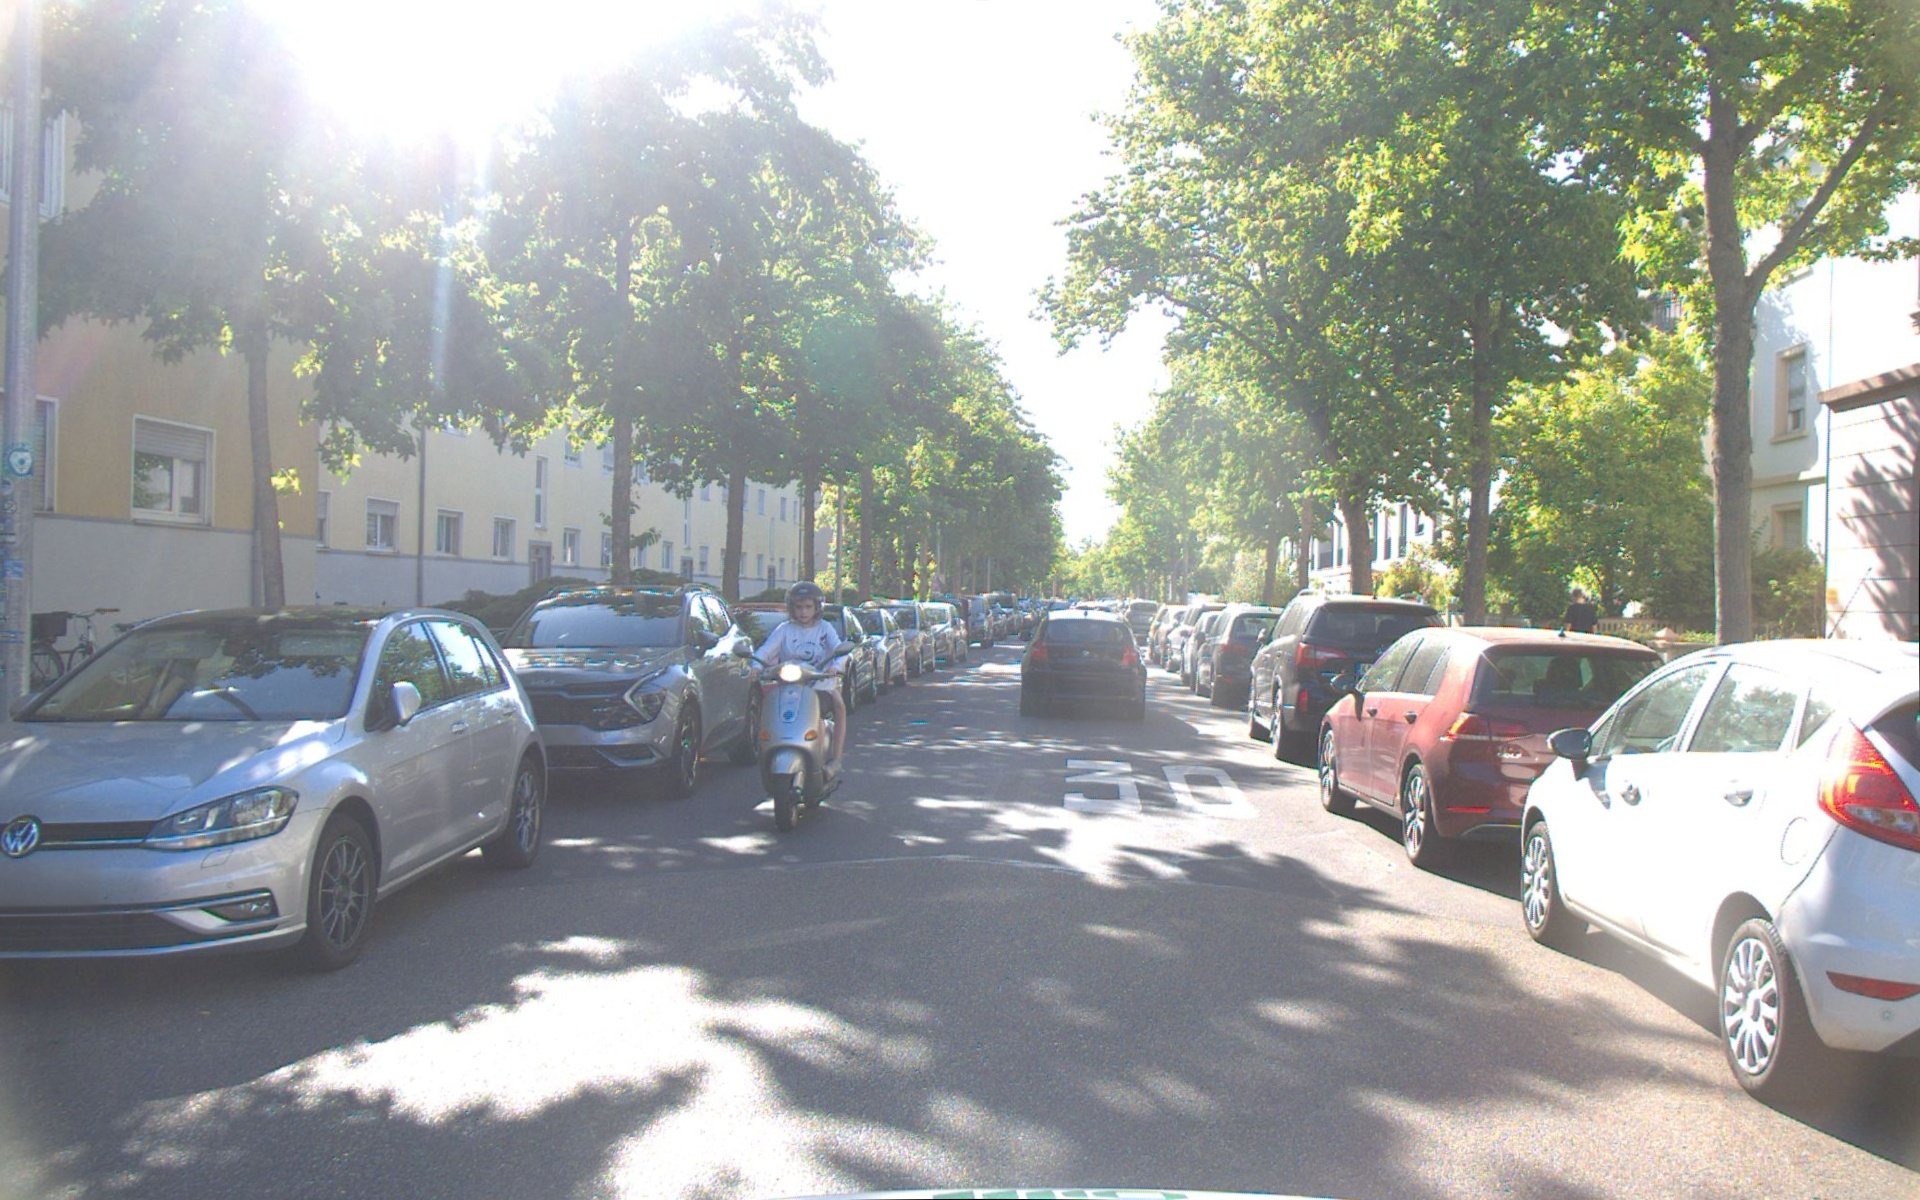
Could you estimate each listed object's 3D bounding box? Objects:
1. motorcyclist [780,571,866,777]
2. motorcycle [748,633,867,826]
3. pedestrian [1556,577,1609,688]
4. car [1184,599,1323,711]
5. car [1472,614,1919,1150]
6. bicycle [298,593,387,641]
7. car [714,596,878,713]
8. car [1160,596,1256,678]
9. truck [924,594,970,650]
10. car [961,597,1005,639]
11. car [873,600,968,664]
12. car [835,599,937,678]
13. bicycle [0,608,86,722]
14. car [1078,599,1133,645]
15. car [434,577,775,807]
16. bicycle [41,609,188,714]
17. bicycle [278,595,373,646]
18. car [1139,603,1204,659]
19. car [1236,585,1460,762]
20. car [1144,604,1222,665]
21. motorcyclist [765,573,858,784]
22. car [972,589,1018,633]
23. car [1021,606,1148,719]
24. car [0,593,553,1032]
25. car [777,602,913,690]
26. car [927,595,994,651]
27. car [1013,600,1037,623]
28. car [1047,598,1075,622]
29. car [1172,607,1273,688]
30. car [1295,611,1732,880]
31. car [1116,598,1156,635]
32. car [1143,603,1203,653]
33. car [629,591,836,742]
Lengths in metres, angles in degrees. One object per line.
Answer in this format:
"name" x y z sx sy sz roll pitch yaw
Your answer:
"motorcyclist" -0.991 0.526 12.006 0.532 1.451 0.404 1 0 4
"motorcycle" -1.027 0.846 11.464 0.541 1.195 1.633 1 0 4
"pedestrian" 10.255 0.531 27.249 0.609 1.806 0.800 0 0 4
"car" 4.833 0.842 27.746 1.649 1.615 4.537 3 0 3
"car" 3.383 0.809 6.585 1.618 1.426 4.137 1 0 3
"bicycle" -12.418 0.336 33.282 1.600 0.947 0.481 1 0 -4
"car" -2.234 0.706 23.531 1.630 1.484 3.935 1 0 4
"car" 5.492 0.778 36.968 1.614 1.684 3.847 1 0 1
"truck" -0.376 0.646 49.379 1.061 1.605 2.433 1 0 6
"car" 0.935 0.711 65.924 1.476 1.575 4.780 -1 0 4
"car" -0.898 0.740 40.519 1.754 1.470 4.691 0 0 6
"car" -1.494 0.759 34.929 1.586 1.542 4.271 -1 0 5
"bicycle" -9.169 0.607 15.823 0.529 1.045 1.749 1 0 6
"car" 4.786 0.703 54.691 1.615 1.450 4.002 1 0 2
"car" -2.780 0.637 14.058 1.656 1.592 4.737 1 0 2
"bicycle" -9.036 0.631 17.753 0.524 1.045 1.749 1 0 6
"bicycle" -11.964 0.382 31.194 1.598 0.947 0.481 1 0 1
"car" 5.986 0.841 47.146 1.602 1.480 4.102 1 0 4
"car" 4.194 0.720 18.503 1.743 1.728 4.299 1 0 4
"car" 5.635 0.851 42.093 1.615 1.453 3.613 1 0 2
"motorcyclist" -1.028 0.533 11.526 0.541 1.427 0.520 1 0 4
"car" 1.649 0.503 76.526 1.788 1.938 5.145 0 0 5
"car" 1.719 0.808 23.027 1.615 1.421 3.413 1 0 4
"car" -3.283 0.721 7.654 1.723 1.467 3.995 1 0 1
"car" -1.930 0.744 29.004 1.708 1.392 4.676 0 0 4
"car" 0.078 0.711 53.992 1.810 1.710 4.979 -1 0 4
"car" 4.555 0.808 115.026 1.578 1.570 3.867 0 0 3
"car" 6.288 0.615 102.974 1.473 1.451 3.180 1 0 8
"car" 5.058 0.876 32.340 1.595 1.450 4.370 0 0 4
"car" 3.537 0.828 11.427 1.578 1.434 4.352 1 0 0
"car" 8.383 0.772 79.019 1.809 1.659 4.413 2 0 6
"car" 6.610 0.845 51.681 1.664 1.474 4.084 1 0 5
"car" -2.464 0.679 18.634 1.630 1.512 3.258 1 0 4
